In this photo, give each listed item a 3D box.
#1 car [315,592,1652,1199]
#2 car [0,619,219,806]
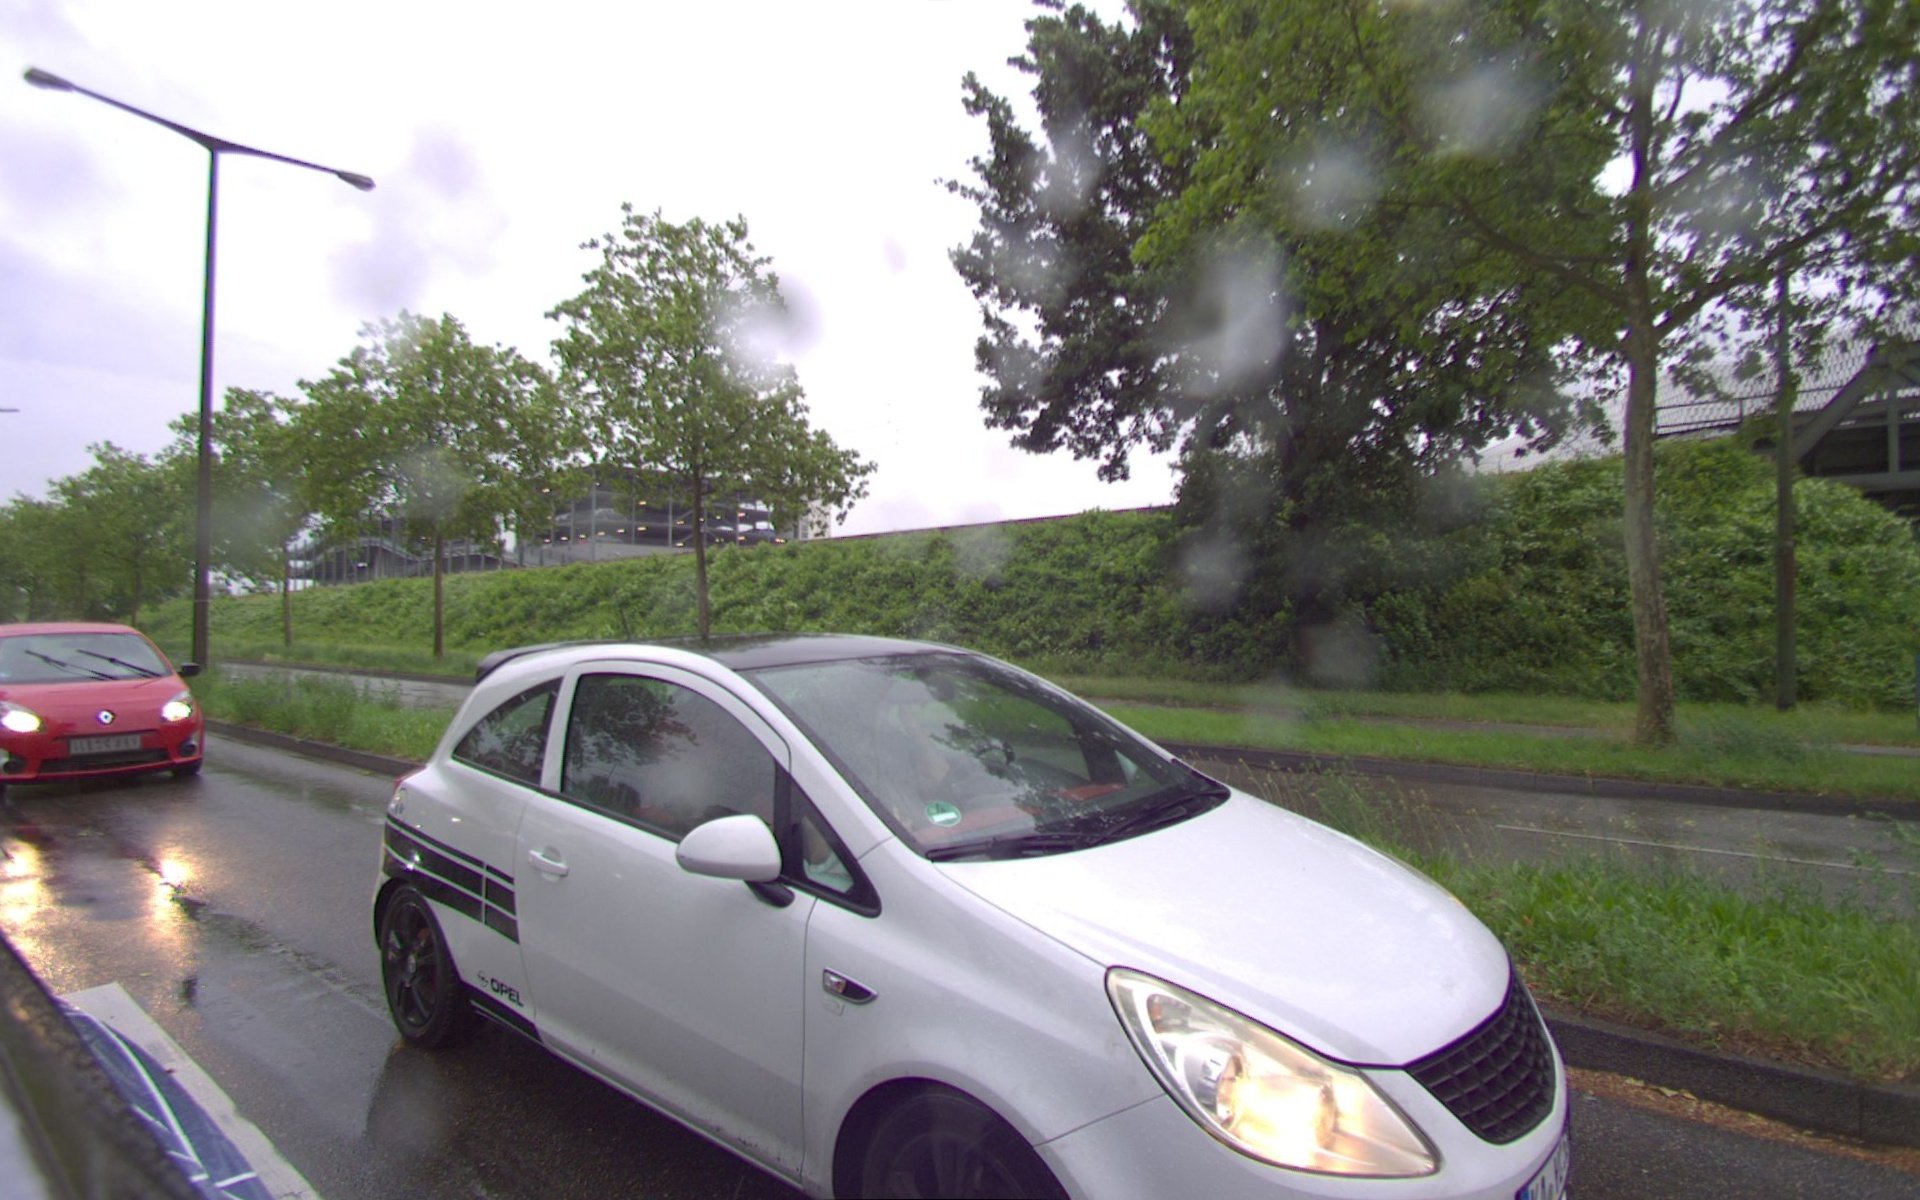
[{"bbox_3d":[-0.348,0.728,3.167,4.007,1.387,1.662,-2,-1,40],"label":"car"},{"bbox_3d":[-8.924,0.966,9.978,4.089,1.476,1.702,-2,-1,40],"label":"car"}]
